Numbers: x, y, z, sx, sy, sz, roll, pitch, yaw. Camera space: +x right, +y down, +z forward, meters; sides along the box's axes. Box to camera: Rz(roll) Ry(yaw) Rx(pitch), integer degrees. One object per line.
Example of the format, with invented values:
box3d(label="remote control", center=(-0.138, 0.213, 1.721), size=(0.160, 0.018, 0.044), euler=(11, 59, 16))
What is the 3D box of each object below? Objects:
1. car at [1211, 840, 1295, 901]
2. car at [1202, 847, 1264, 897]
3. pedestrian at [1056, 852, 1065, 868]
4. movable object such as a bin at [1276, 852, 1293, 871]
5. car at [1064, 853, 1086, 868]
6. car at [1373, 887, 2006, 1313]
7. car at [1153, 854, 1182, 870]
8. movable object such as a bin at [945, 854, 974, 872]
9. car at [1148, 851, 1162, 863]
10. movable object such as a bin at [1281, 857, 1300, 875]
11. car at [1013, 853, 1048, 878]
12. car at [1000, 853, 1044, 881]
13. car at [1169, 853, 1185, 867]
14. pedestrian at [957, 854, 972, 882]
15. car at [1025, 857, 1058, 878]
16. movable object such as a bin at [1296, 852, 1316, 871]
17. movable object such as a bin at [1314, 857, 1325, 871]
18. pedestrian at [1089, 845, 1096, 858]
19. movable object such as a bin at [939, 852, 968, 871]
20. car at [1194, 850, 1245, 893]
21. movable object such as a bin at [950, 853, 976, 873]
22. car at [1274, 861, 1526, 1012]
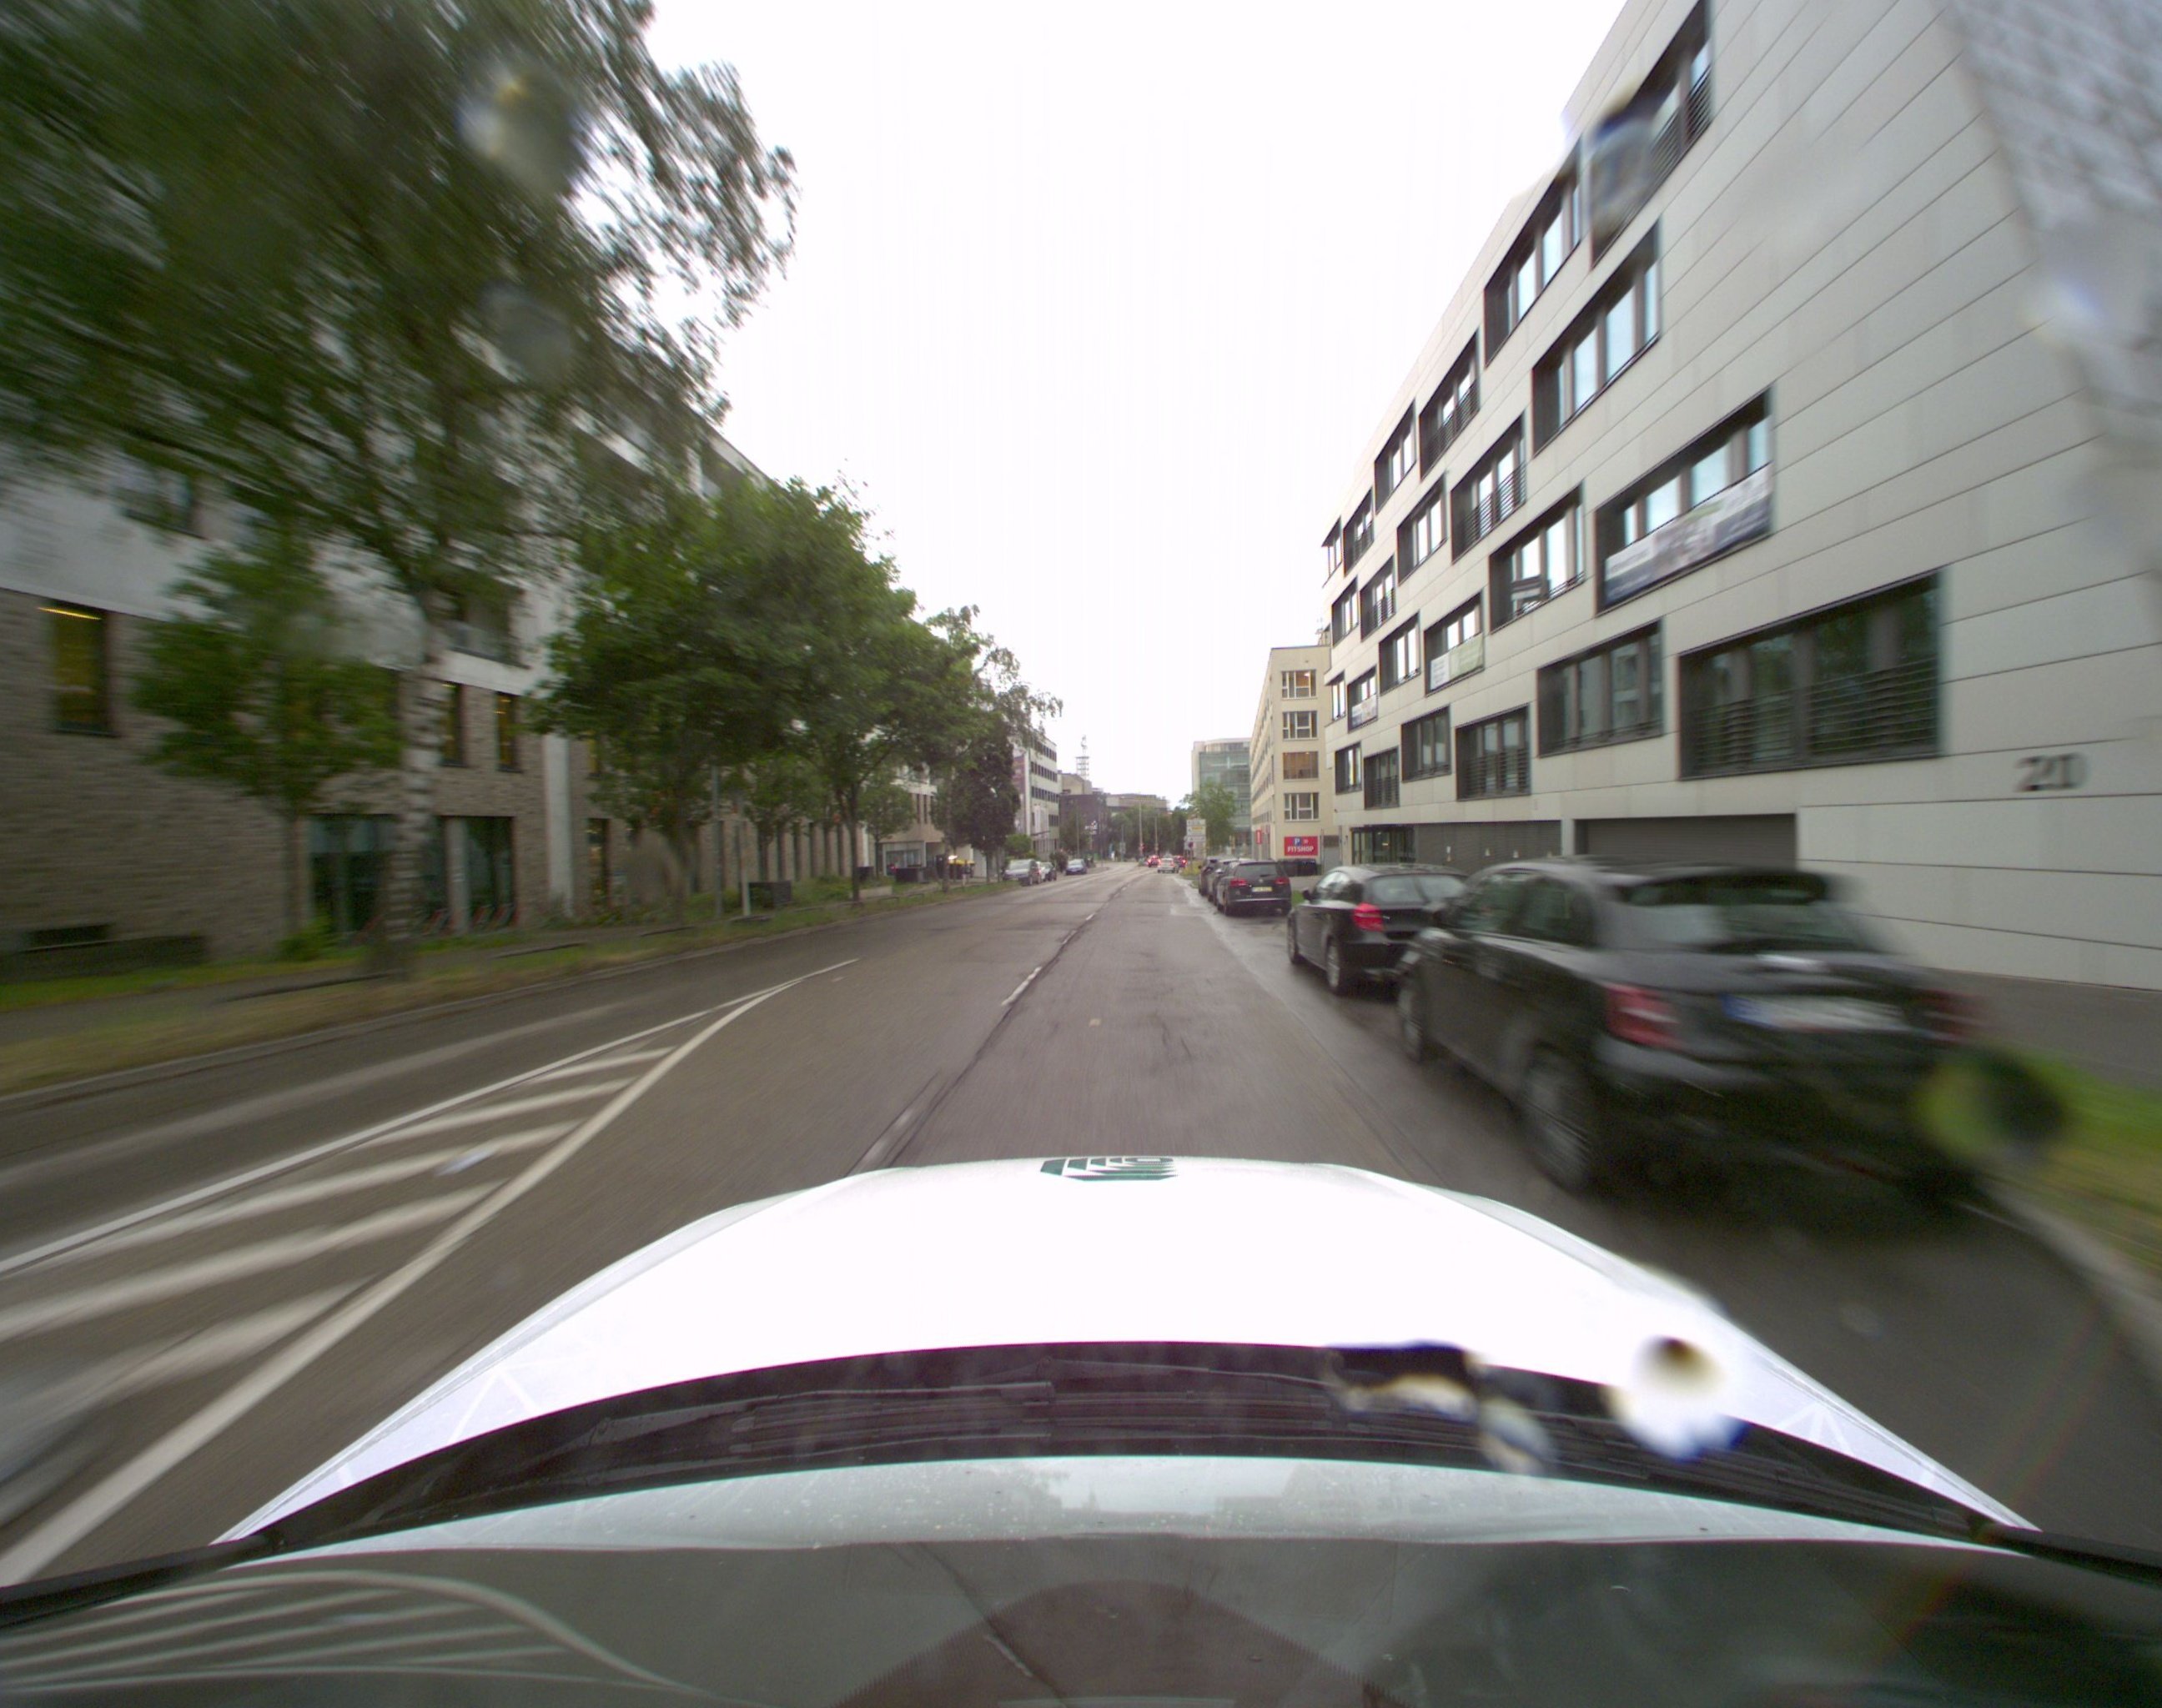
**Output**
box3d(label="car", center=(4.821, 0.450, 23.398), size=(1.799, 1.563, 4.853), euler=(-1, -1, 5))
box3d(label="car", center=(5.255, 0.613, 28.579), size=(1.740, 1.605, 4.380), euler=(-1, -1, 5))
box3d(label="pedestrian", center=(-2.241, 0.680, 88.270), size=(0.731, 1.708, 0.897), euler=(-1, -1, -21))
box3d(label="movable object such as a bin", center=(15.879, 0.587, 63.682), size=(1.167, 1.503, 1.016), euler=(-1, 0, 8))
box3d(label="car", center=(-0.541, 0.678, 81.336), size=(1.906, 1.481, 4.360), euler=(-1, -1, 3))
box3d(label="car", center=(3.066, 1.050, 5.088), size=(1.538, 1.478, 3.667), euler=(-1, 1, 7))
box3d(label="car", center=(8.742, 0.791, 82.073), size=(1.977, 1.577, 4.016), euler=(-1, 0, 19))
box3d(label="movable object such as a bin", center=(-9.593, 0.698, 64.535), size=(2.046, 1.423, 1.317), euler=(0, 0, 2))
box3d(label="car", center=(11.094, 0.467, 122.000), size=(2.131, 1.728, 4.006), euler=(-1, -1, 6))
box3d(label="movable object such as a bin", center=(15.809, 0.894, 61.427), size=(1.228, 1.320, 1.194), euler=(-2, -1, 7))
box3d(label="car", center=(-3.493, 0.765, 57.133), size=(1.765, 1.600, 4.038), euler=(-1, 0, 5))
box3d(label="car", center=(-3.701, 0.803, 51.883), size=(2.068, 1.609, 4.691), euler=(-2, 0, 4))
box3d(label="car", center=(12.462, 0.797, 105.532), size=(1.983, 1.750, 3.679), euler=(-1, 0, 6))
box3d(label="pedestrian", center=(-7.060, 0.847, 49.490), size=(0.706, 1.683, 0.957), euler=(-1, 0, 1))
box3d(label="car", center=(-2.974, 0.975, 61.767), size=(1.787, 1.516, 4.254), euler=(-1, -1, 7))
box3d(label="movable object such as a bin", center=(17.177, 0.564, 62.211), size=(1.254, 1.402, 1.115), euler=(-1, 0, 8))
box3d(label="movable object such as a bin", center=(18.202, 0.761, 62.097), size=(0.695, 1.027, 0.855), euler=(-1, 0, 8))
box3d(label="pedestrian", center=(1.714, -0.320, 125.152), size=(0.958, 1.955, 0.777), euler=(-1, -1, -7))
box3d(label="movable object such as a bin", center=(-9.898, 0.595, 63.217), size=(2.019, 1.430, 1.291), euler=(1, 0, 2))
box3d(label="car", center=(5.846, 0.679, 34.768), size=(1.799, 1.679, 4.720), euler=(-1, 1, 5))
box3d(label="movable object such as a bin", center=(-9.582, 0.707, 66.020), size=(1.788, 1.510, 1.482), euler=(-3, 0, 2))
box3d(label="car", center=(3.695, 0.847, 10.354), size=(1.799, 1.484, 4.502), euler=(-1, -1, 5))
